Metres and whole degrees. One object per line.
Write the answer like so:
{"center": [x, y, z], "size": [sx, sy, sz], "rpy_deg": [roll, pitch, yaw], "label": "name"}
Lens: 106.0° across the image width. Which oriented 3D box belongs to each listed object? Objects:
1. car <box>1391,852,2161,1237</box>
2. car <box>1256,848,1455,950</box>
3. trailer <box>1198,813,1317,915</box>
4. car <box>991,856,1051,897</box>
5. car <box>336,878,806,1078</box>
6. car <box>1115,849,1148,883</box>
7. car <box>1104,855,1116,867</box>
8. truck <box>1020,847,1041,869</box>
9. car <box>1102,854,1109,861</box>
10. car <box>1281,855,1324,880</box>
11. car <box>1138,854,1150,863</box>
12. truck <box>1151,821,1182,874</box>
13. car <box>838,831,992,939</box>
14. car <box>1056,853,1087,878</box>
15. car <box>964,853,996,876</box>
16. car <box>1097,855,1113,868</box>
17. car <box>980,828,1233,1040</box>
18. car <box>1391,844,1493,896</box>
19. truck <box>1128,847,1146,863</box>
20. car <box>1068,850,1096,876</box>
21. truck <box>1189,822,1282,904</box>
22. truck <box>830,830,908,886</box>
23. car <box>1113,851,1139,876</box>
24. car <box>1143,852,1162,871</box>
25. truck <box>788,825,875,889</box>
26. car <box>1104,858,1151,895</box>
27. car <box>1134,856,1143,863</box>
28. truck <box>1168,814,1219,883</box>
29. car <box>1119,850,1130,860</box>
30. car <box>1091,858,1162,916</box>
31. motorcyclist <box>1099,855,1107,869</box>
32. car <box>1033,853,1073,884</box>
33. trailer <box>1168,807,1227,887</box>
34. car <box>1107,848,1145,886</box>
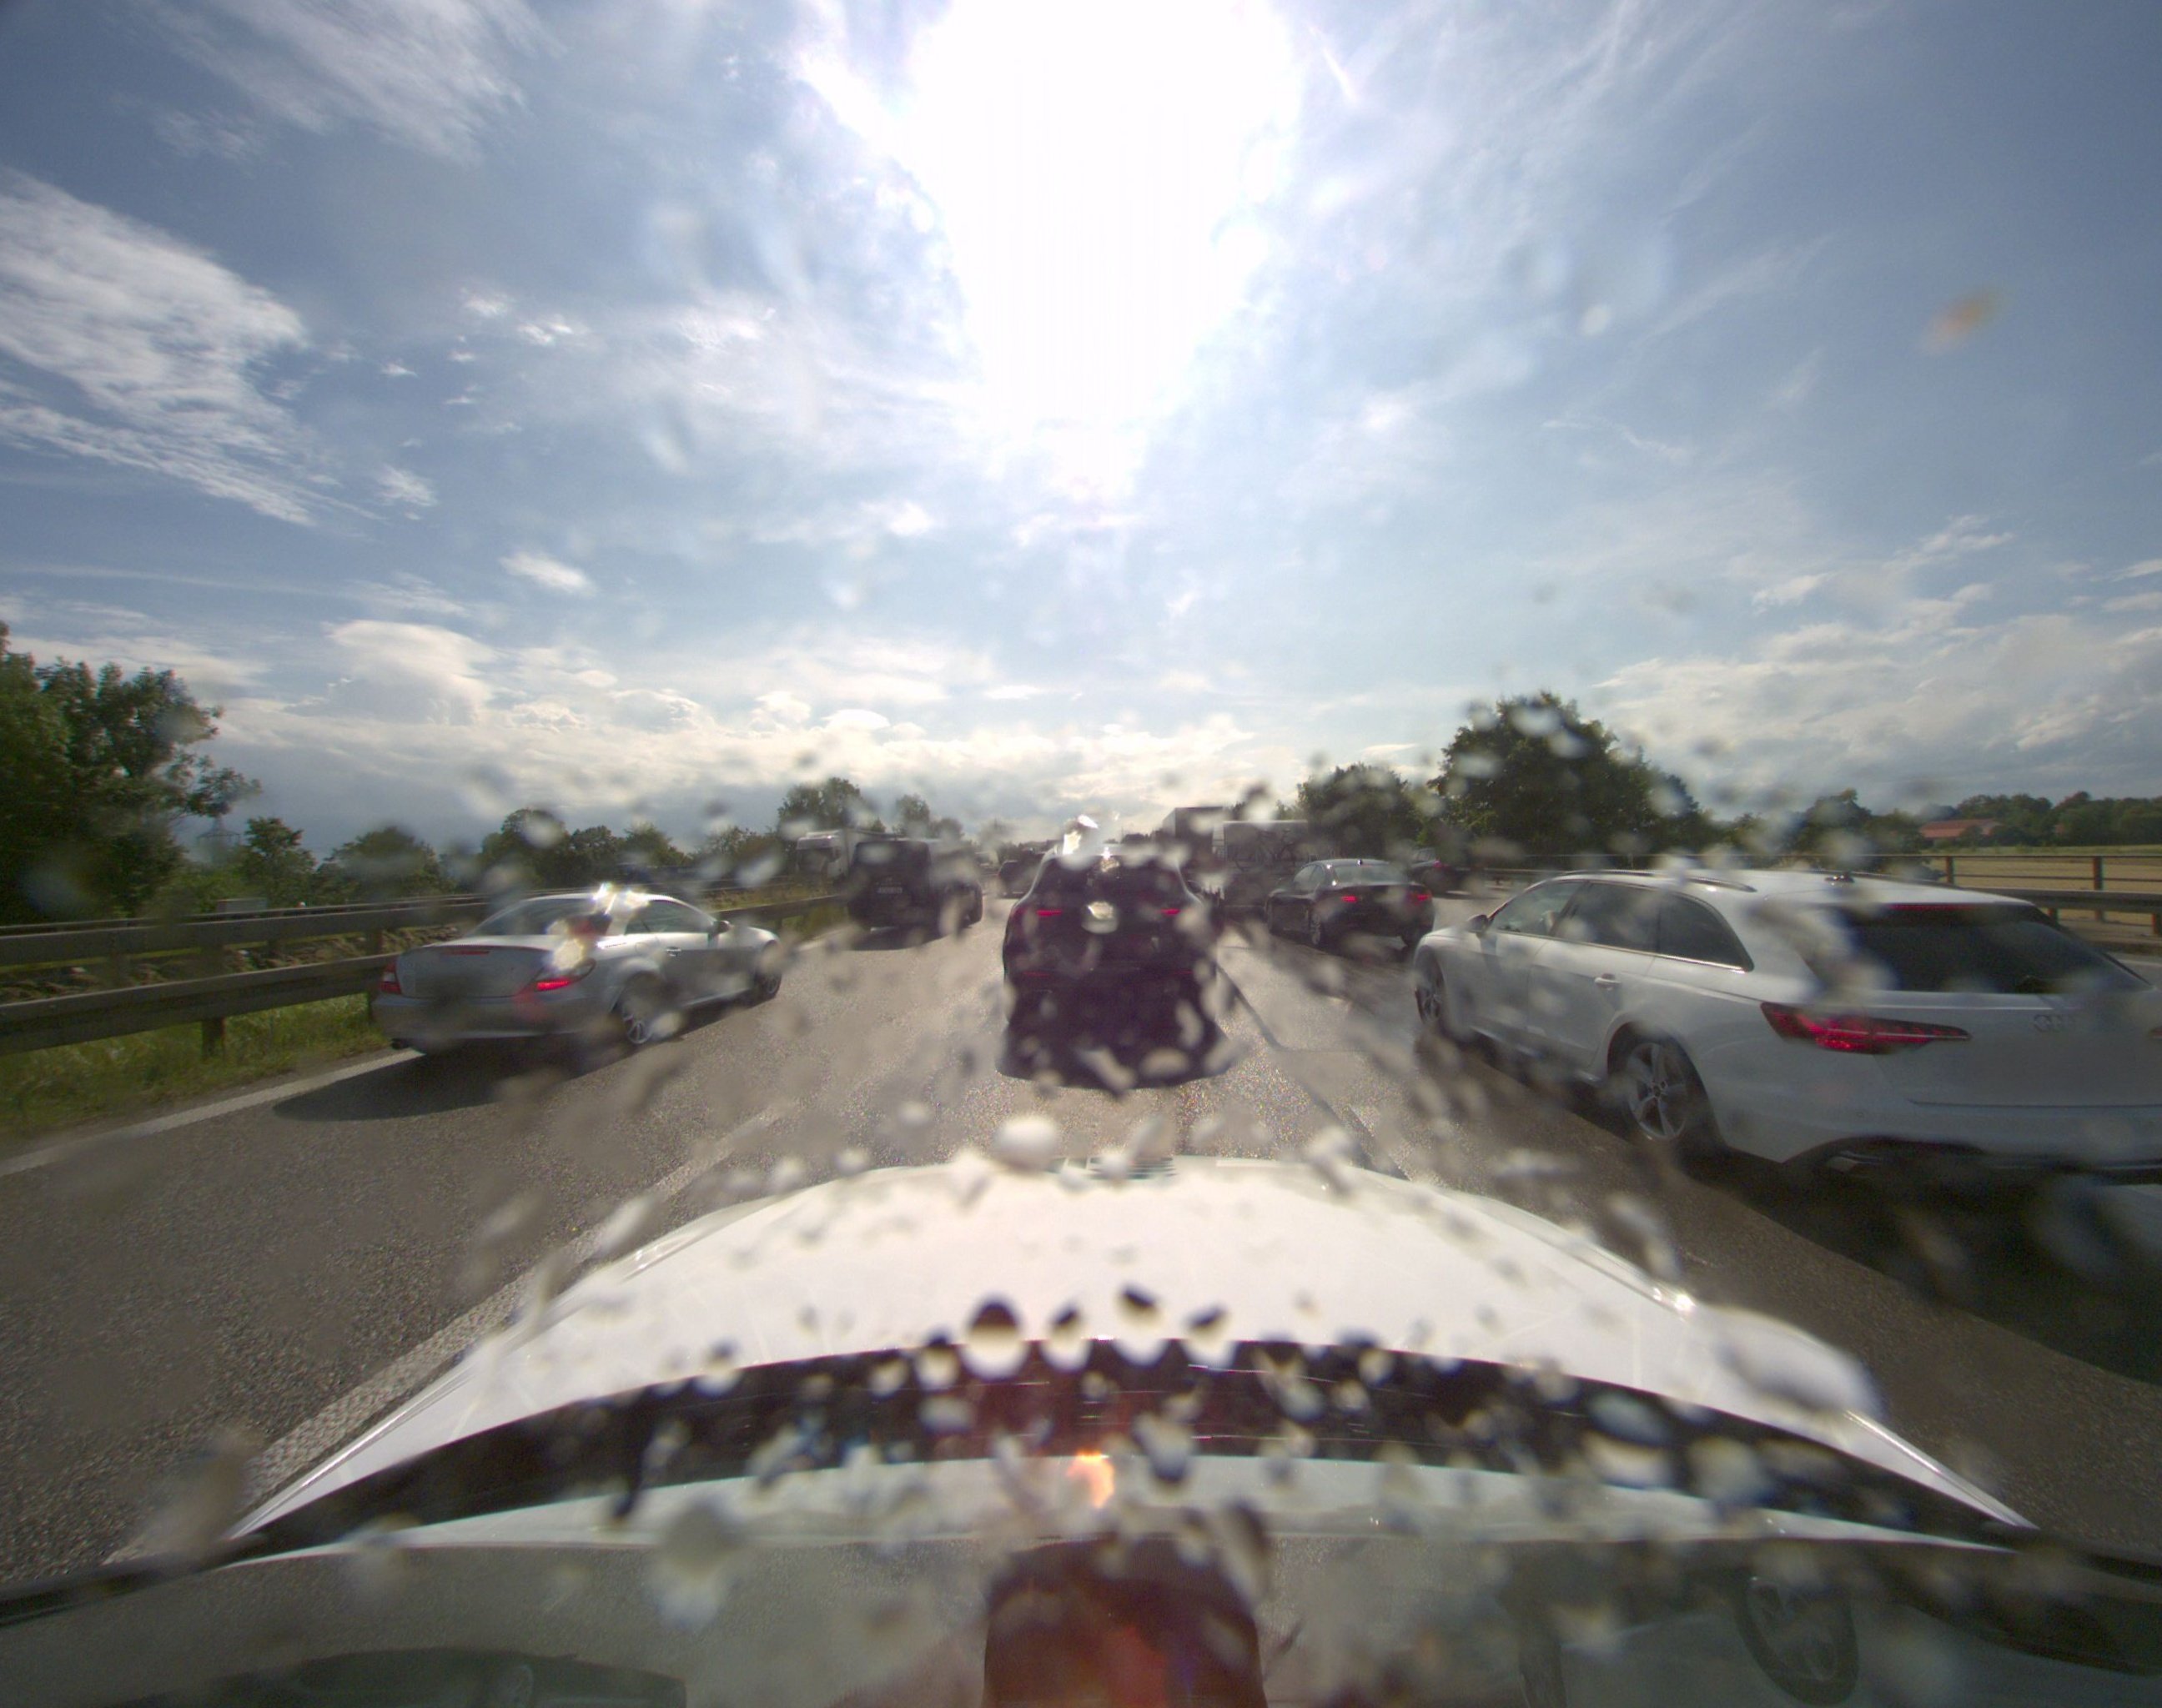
{"center": [3.723, 0.760, 5.311], "size": [1.820, 1.425, 4.512], "rpy_deg": [0, -1, 2], "label": "car"}
{"center": [4.589, 0.693, 14.368], "size": [1.844, 1.464, 4.250], "rpy_deg": [-2, -1, -3], "label": "car"}
{"center": [4.775, 0.263, 23.199], "size": [2.364, 2.483, 6.529], "rpy_deg": [0, 0, 4], "label": "trailer"}
{"center": [-2.342, 0.860, 33.007], "size": [1.749, 1.516, 4.214], "rpy_deg": [-1, 0, 5], "label": "car"}
{"center": [-4.291, 0.940, 7.771], "size": [1.717, 1.278, 4.067], "rpy_deg": [-1, 0, 4], "label": "car"}
{"center": [3.365, 0.765, 53.529], "size": [1.984, 2.013, 4.005], "rpy_deg": [3, 0, 4], "label": "car"}
{"center": [5.195, 1.282, 144.097], "size": [1.986, 2.013, 4.001], "rpy_deg": [3, 0, 1], "label": "car"}
{"center": [-9.837, 0.741, 160.306], "size": [2.992, 4.103, 7.693], "rpy_deg": [-3, -1, 3], "label": "truck"}
{"center": [6.548, 0.914, 218.244], "size": [1.986, 2.014, 4.001], "rpy_deg": [0, -1, 1], "label": "car"}
{"center": [14.064, 0.847, 51.901], "size": [1.840, 1.568, 4.004], "rpy_deg": [-1, 0, 4], "label": "car"}
{"center": [11.312, 0.815, 146.507], "size": [1.869, 1.760, 4.000], "rpy_deg": [0, 0, 1], "label": "car"}
{"center": [8.212, -0.594, 78.914], "size": [2.492, 4.830, 7.548], "rpy_deg": [0, -1, 3], "label": "truck"}
{"center": [-3.457, 0.599, 18.139], "size": [1.985, 2.013, 5.274], "rpy_deg": [-1, 0, 4], "label": "car"}
{"center": [-0.653, 0.855, 61.600], "size": [1.984, 1.772, 4.005], "rpy_deg": [1, 0, 4], "label": "car"}
{"center": [-10.310, 1.004, 83.742], "size": [1.985, 2.208, 6.986], "rpy_deg": [-1, 0, 3], "label": "car"}
{"center": [3.408, 1.065, 114.366], "size": [1.984, 1.616, 4.005], "rpy_deg": [3, 0, 4], "label": "car"}
{"center": [0.337, 0.657, 8.671], "size": [1.985, 1.661, 4.410], "rpy_deg": [-1, -1, 4], "label": "car"}
{"center": [12.270, 0.506, 28.000], "size": [1.812, 1.620, 4.368], "rpy_deg": [0, 0, 4], "label": "car"}
{"center": [14.580, 0.242, 212.779], "size": [3.831, 4.017, 11.218], "rpy_deg": [0, 0, 0], "label": "truck"}
{"center": [0.122, 0.742, 69.092], "size": [1.984, 2.013, 4.005], "rpy_deg": [3, 0, 4], "label": "car"}
{"center": [5.058, 0.285, 27.537], "size": [2.364, 2.477, 5.761], "rpy_deg": [0, 0, 4], "label": "truck"}
{"center": [-15.742, 0.380, 61.386], "size": [2.836, 3.853, 9.430], "rpy_deg": [-1, -1, 3], "label": "truck"}
{"center": [3.777, 0.754, 67.471], "size": [1.984, 2.014, 4.005], "rpy_deg": [-1, 0, 4], "label": "car"}
{"center": [7.755, 0.840, 88.574], "size": [1.984, 2.014, 4.005], "rpy_deg": [1, 0, 4], "label": "car"}
{"center": [-16.206, 0.276, 53.541], "size": [2.850, 3.821, 7.884], "rpy_deg": [-1, -1, 3], "label": "truck"}
{"center": [1.906, 0.857, 32.900], "size": [1.798, 1.407, 4.004], "rpy_deg": [0, 0, 4], "label": "car"}
{"center": [13.191, 1.257, 186.191], "size": [1.869, 1.760, 4.000], "rpy_deg": [0, 0, 1], "label": "car"}
{"center": [7.170, -0.332, 52.512], "size": [2.980, 4.166, 5.248], "rpy_deg": [-1, 0, 6], "label": "truck"}
{"center": [7.965, 0.213, 150.010], "size": [1.869, 1.760, 4.000], "rpy_deg": [0, 0, 1], "label": "car"}
{"center": [1.306, 0.836, 22.349], "size": [1.749, 1.387, 3.950], "rpy_deg": [-1, 0, 5], "label": "car"}
{"center": [2.814, 1.006, 104.654], "size": [1.059, 1.718, 0.786], "rpy_deg": [-1, -1, 3], "label": "motorcyclist"}
{"center": [-1.560, 0.818, 46.760], "size": [1.986, 1.720, 4.002], "rpy_deg": [0, 0, 2], "label": "car"}
{"center": [6.571, -0.351, 46.935], "size": [2.992, 4.166, 8.550], "rpy_deg": [-1, 0, 6], "label": "trailer"}
{"center": [2.528, 0.705, 45.187], "size": [1.984, 2.014, 4.005], "rpy_deg": [0, 0, 4], "label": "car"}
